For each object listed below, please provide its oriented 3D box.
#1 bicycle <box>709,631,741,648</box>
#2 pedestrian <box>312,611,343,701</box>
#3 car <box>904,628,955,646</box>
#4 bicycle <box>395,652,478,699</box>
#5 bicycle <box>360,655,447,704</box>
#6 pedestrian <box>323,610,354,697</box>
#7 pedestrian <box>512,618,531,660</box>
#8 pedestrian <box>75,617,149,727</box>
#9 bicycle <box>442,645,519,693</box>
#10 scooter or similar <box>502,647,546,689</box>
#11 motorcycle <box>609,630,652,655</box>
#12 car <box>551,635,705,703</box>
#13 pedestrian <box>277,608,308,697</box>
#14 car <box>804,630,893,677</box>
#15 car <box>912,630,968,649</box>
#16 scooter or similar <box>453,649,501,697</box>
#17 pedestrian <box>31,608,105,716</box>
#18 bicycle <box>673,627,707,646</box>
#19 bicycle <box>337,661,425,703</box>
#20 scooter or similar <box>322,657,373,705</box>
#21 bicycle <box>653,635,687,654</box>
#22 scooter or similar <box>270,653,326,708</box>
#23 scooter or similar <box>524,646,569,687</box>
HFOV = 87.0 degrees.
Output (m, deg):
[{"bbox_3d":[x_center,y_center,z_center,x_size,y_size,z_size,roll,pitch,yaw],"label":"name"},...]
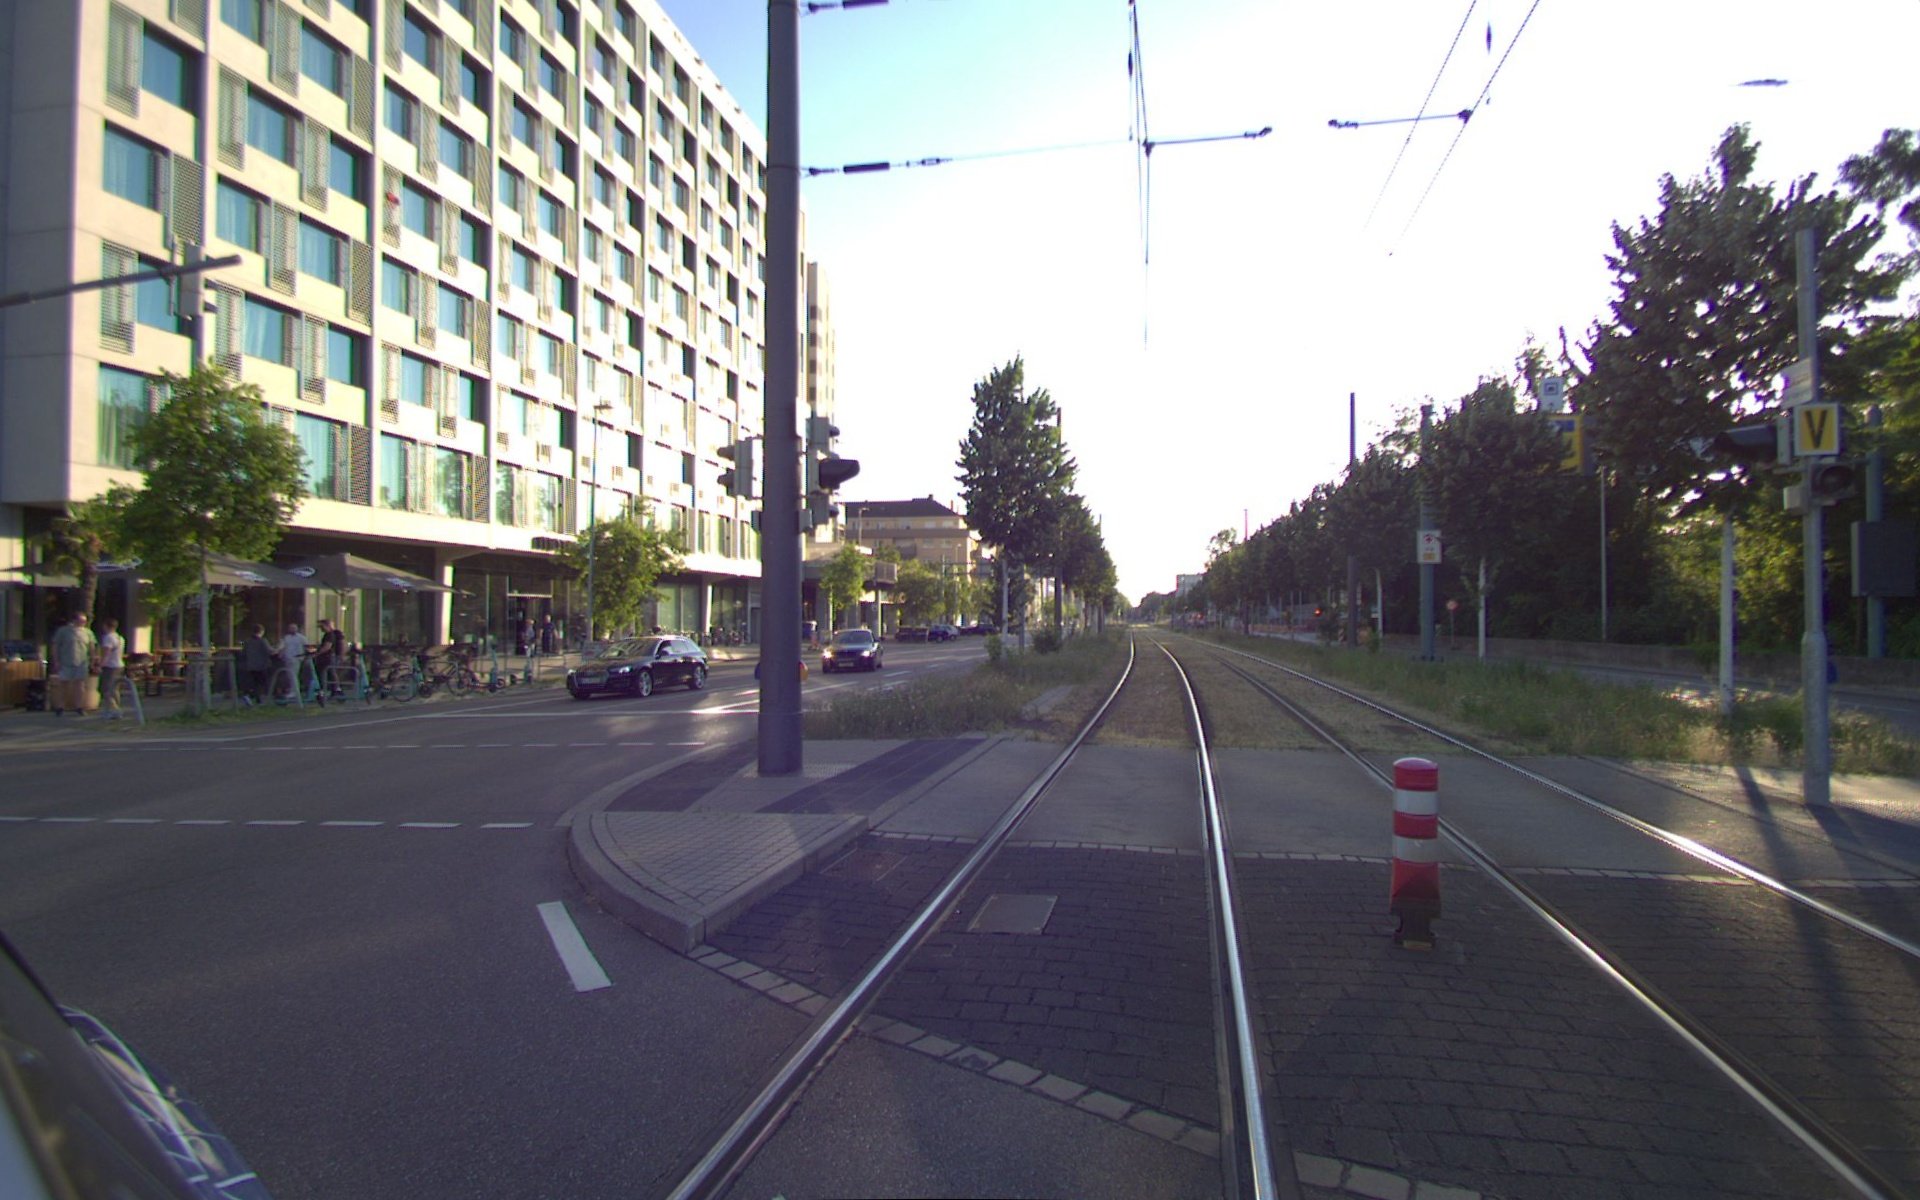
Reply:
[{"bbox_3d":[-13.847,2.330,59.584,1.772,1.028,0.420,0,-2,7],"label":"bicycle"},{"bbox_3d":[-14.581,1.280,23.335,0.543,2.029,0.503,1,-2,-38],"label":"pedestrian"},{"bbox_3d":[-2.718,3.270,89.867,4.060,1.447,1.831,3,-1,-28],"label":"car"},{"bbox_3d":[-13.069,1.877,25.269,1.892,1.067,0.442,1,-1,8],"label":"bicycle"},{"bbox_3d":[-13.200,1.876,24.005,1.892,1.067,0.442,1,-1,8],"label":"bicycle"},{"bbox_3d":[-14.784,1.259,24.072,0.543,2.029,0.503,1,-2,-38],"label":"pedestrian"},{"bbox_3d":[-17.819,1.567,41.116,0.425,1.669,0.514,2,-1,12],"label":"pedestrian"},{"bbox_3d":[-15.481,1.298,18.484,0.674,1.938,0.705,2,-1,13],"label":"pedestrian"},{"bbox_3d":[-12.912,1.854,27.250,1.892,1.208,0.442,1,-1,8],"label":"bicycle"},{"bbox_3d":[-12.330,1.921,28.622,1.173,1.172,0.337,0,-2,12],"label":"scooter or similar"},{"bbox_3d":[-16.068,2.080,49.370,1.869,1.180,0.516,1,-2,-4],"label":"motorcycle"},{"bbox_3d":[-7.950,1.608,24.701,1.870,1.451,4.212,0,-1,9],"label":"car"},{"bbox_3d":[-15.471,1.209,23.464,0.543,2.029,0.503,1,-2,-38],"label":"pedestrian"},{"bbox_3d":[-3.808,1.827,35.517,1.998,1.452,4.790,-2,-2,7],"label":"car"},{"bbox_3d":[-1.669,3.296,84.579,4.212,1.602,2.015,1,-2,-29],"label":"car"},{"bbox_3d":[-12.702,1.906,26.605,1.173,1.227,0.337,0,-2,12],"label":"scooter or similar"},{"bbox_3d":[-16.568,1.139,18.811,0.674,1.938,0.706,2,-1,12],"label":"pedestrian"},{"bbox_3d":[-14.853,2.016,55.734,1.772,1.028,0.420,0,-2,7],"label":"bicycle"},{"bbox_3d":[-13.403,1.892,23.426,1.849,0.877,0.442,1,-1,8],"label":"bicycle"},{"bbox_3d":[-13.591,1.798,22.464,0.999,1.042,0.290,0,-3,11],"label":"scooter or similar"},{"bbox_3d":[-15.192,2.327,53.031,1.727,1.028,0.420,0,-2,7],"label":"bicycle"},{"bbox_3d":[-14.012,1.702,21.425,0.965,1.093,0.337,2,-4,12],"label":"scooter or similar"},{"bbox_3d":[-12.134,1.944,29.695,1.173,1.065,0.337,4,1,12],"label":"scooter or similar"}]
